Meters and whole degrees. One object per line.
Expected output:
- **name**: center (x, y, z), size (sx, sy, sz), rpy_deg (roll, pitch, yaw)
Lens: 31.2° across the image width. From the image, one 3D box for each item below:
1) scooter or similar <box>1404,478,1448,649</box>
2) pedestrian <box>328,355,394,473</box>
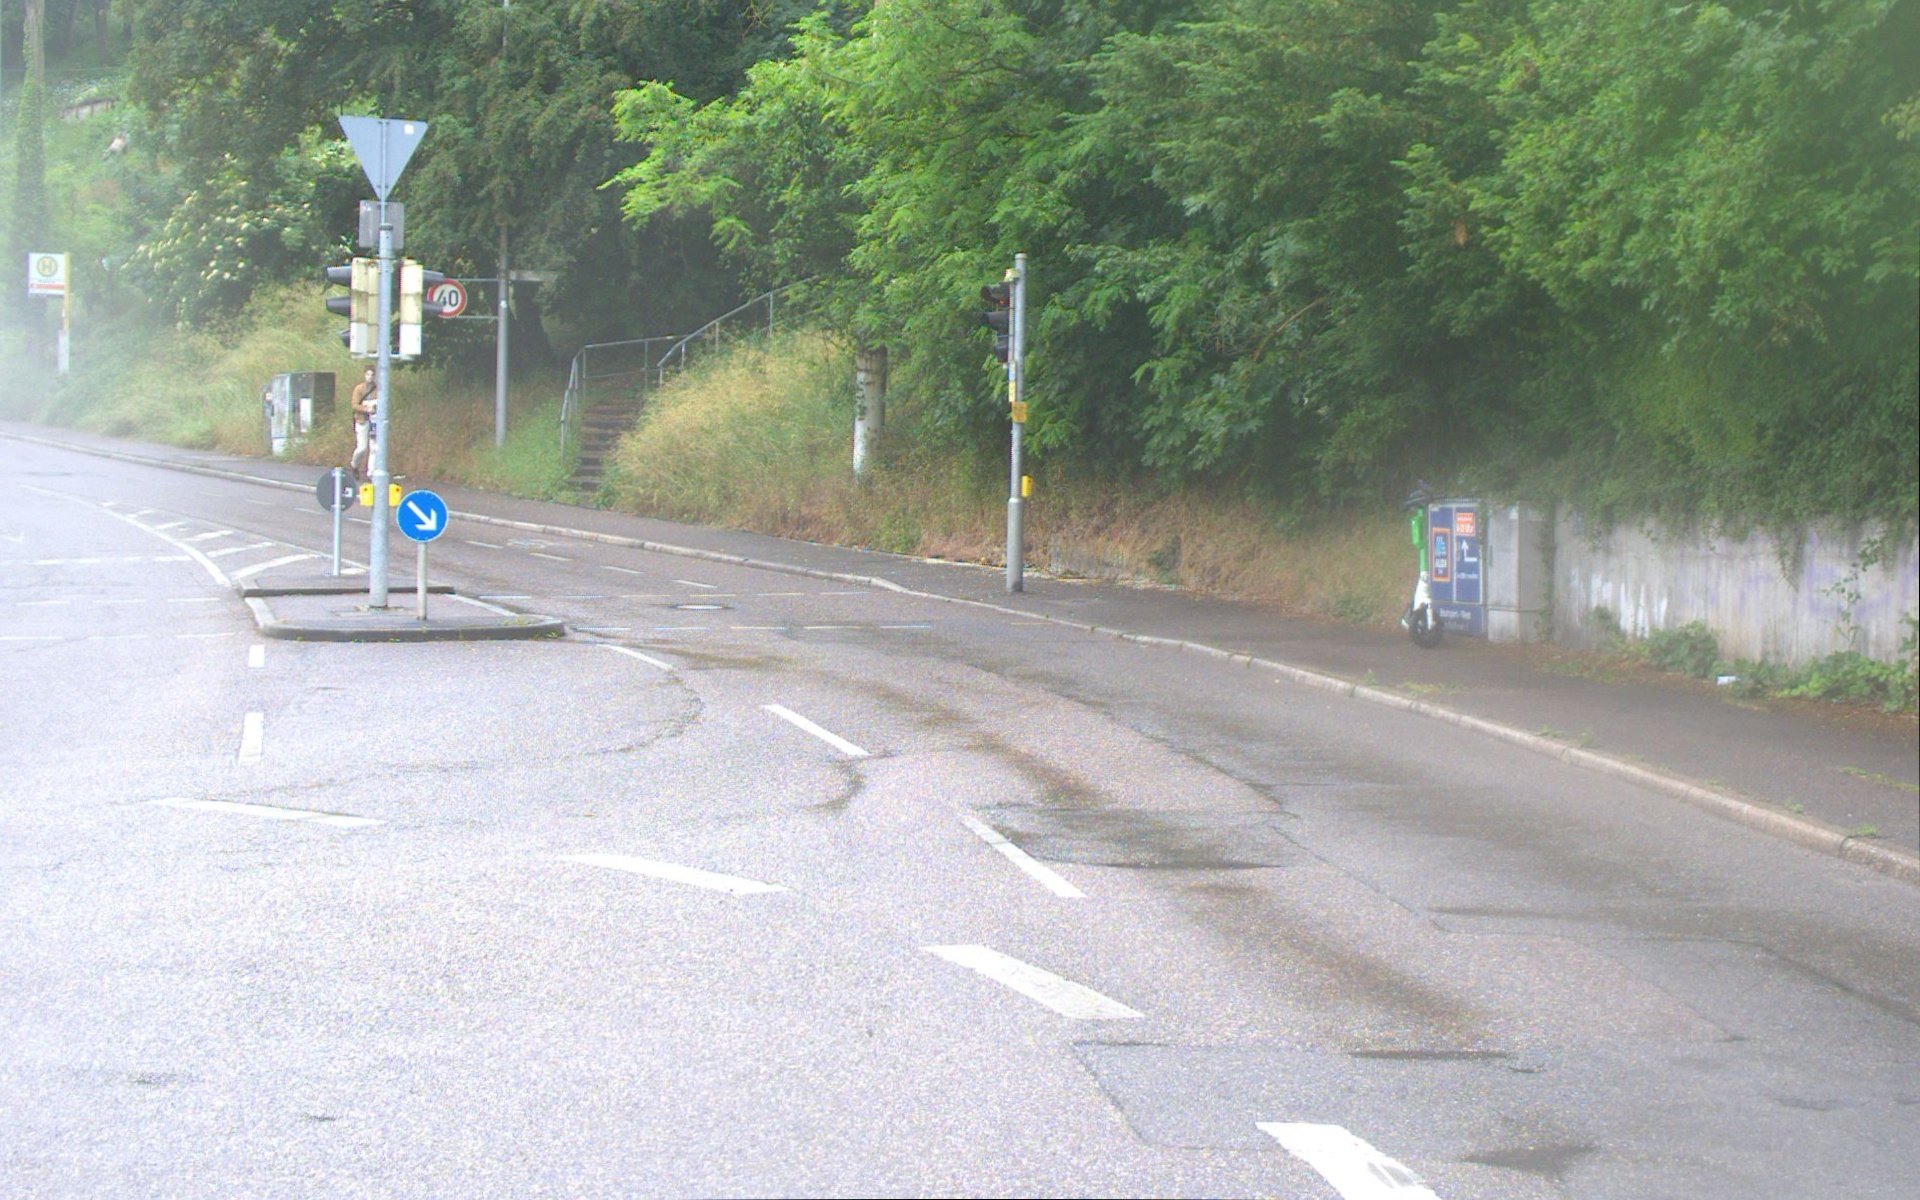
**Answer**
- **scooter or similar**: center (3.590, -0.293, 26.484), size (0.322, 1.275, 0.751), rpy_deg (0, 4, 7)
- **pedestrian**: center (-9.073, -2.808, 52.060), size (0.880, 1.730, 0.866), rpy_deg (0, 0, -17)
